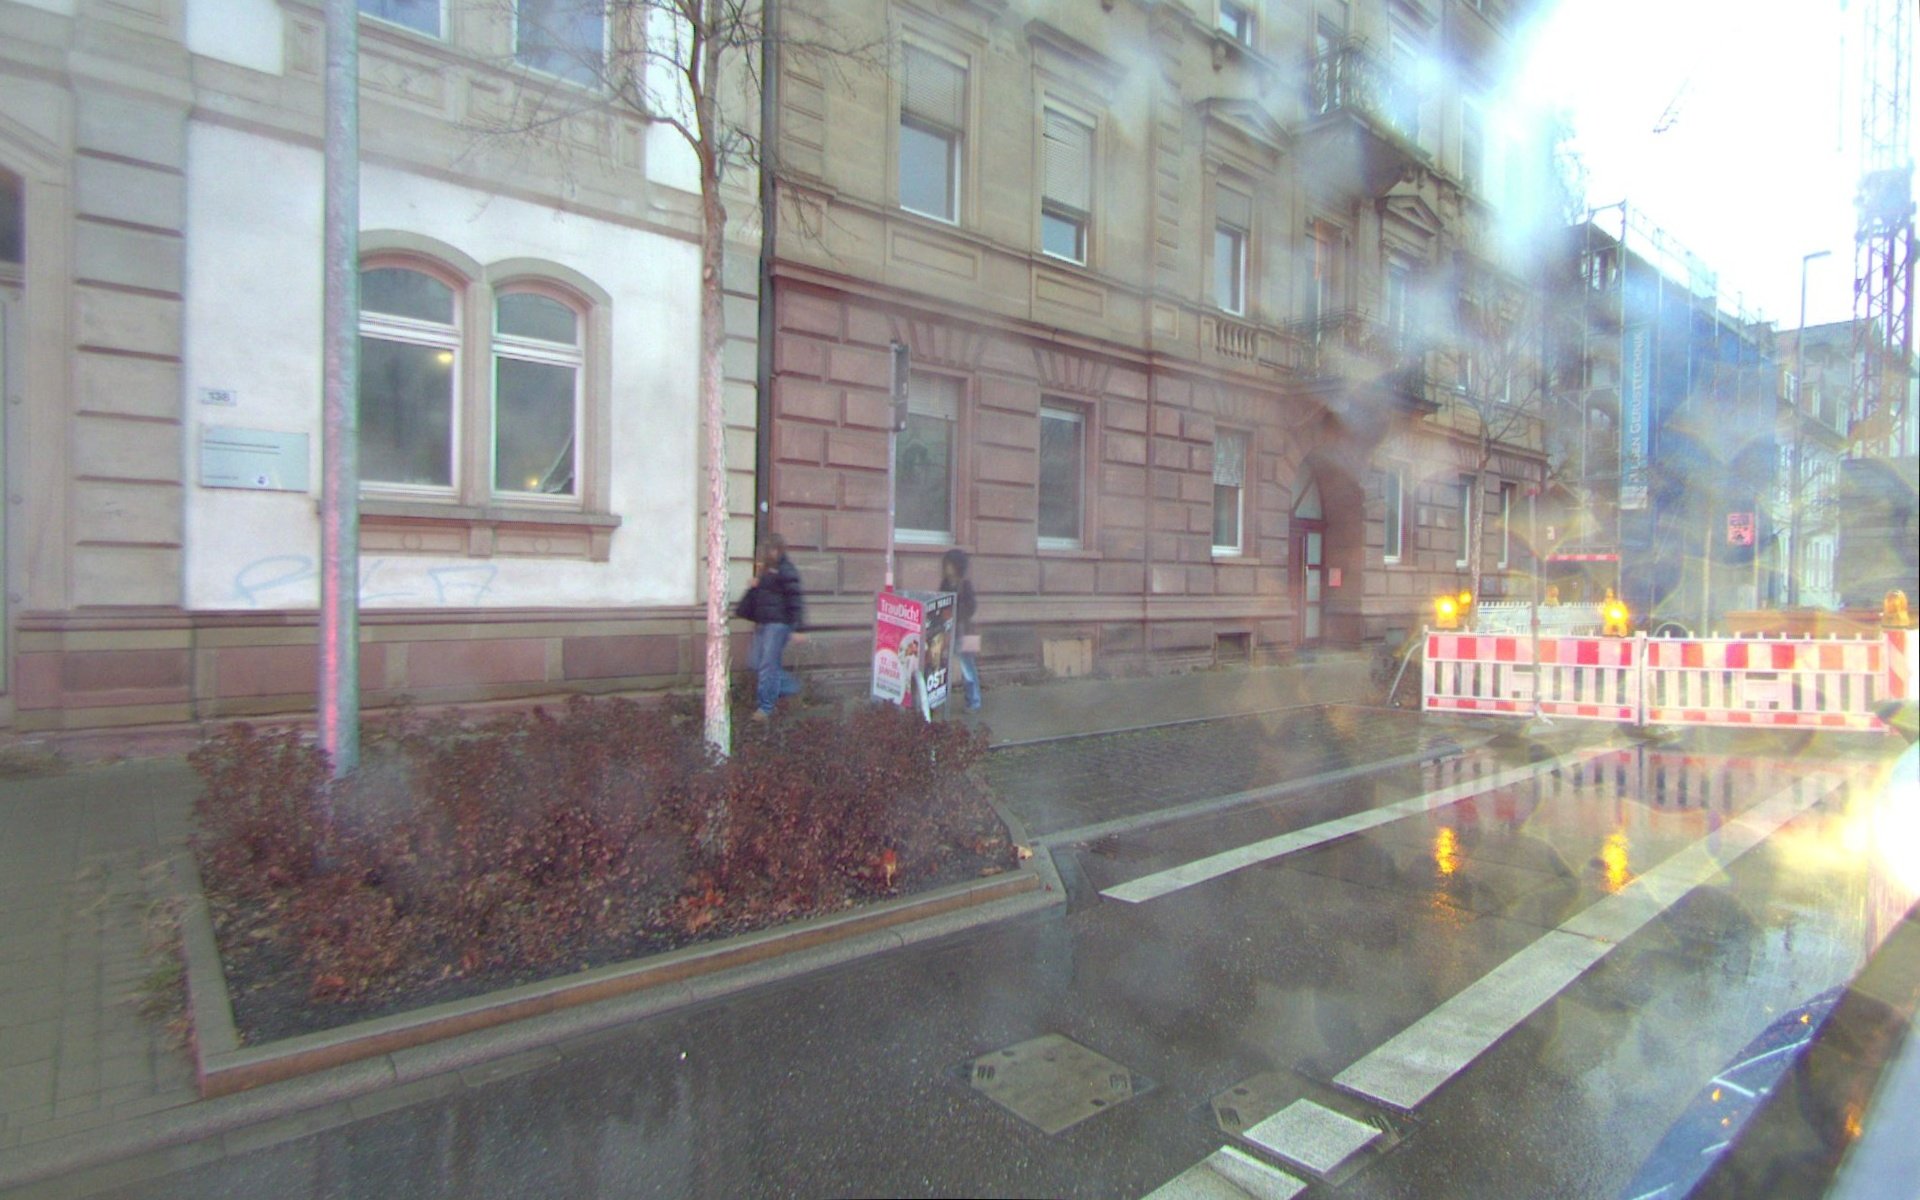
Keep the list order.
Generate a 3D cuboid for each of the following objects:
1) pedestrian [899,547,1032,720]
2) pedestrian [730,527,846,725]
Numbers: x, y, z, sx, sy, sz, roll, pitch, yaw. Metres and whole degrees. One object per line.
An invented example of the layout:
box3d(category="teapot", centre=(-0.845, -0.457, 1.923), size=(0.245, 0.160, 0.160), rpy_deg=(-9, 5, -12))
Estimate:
box3d(category="pedestrian", centre=(0.053, 0.287, 9.750), size=(0.913, 1.564, 0.870), rpy_deg=(0, 2, -40))
box3d(category="pedestrian", centre=(-1.576, 0.207, 9.232), size=(0.694, 1.693, 0.870), rpy_deg=(0, 2, -38))
